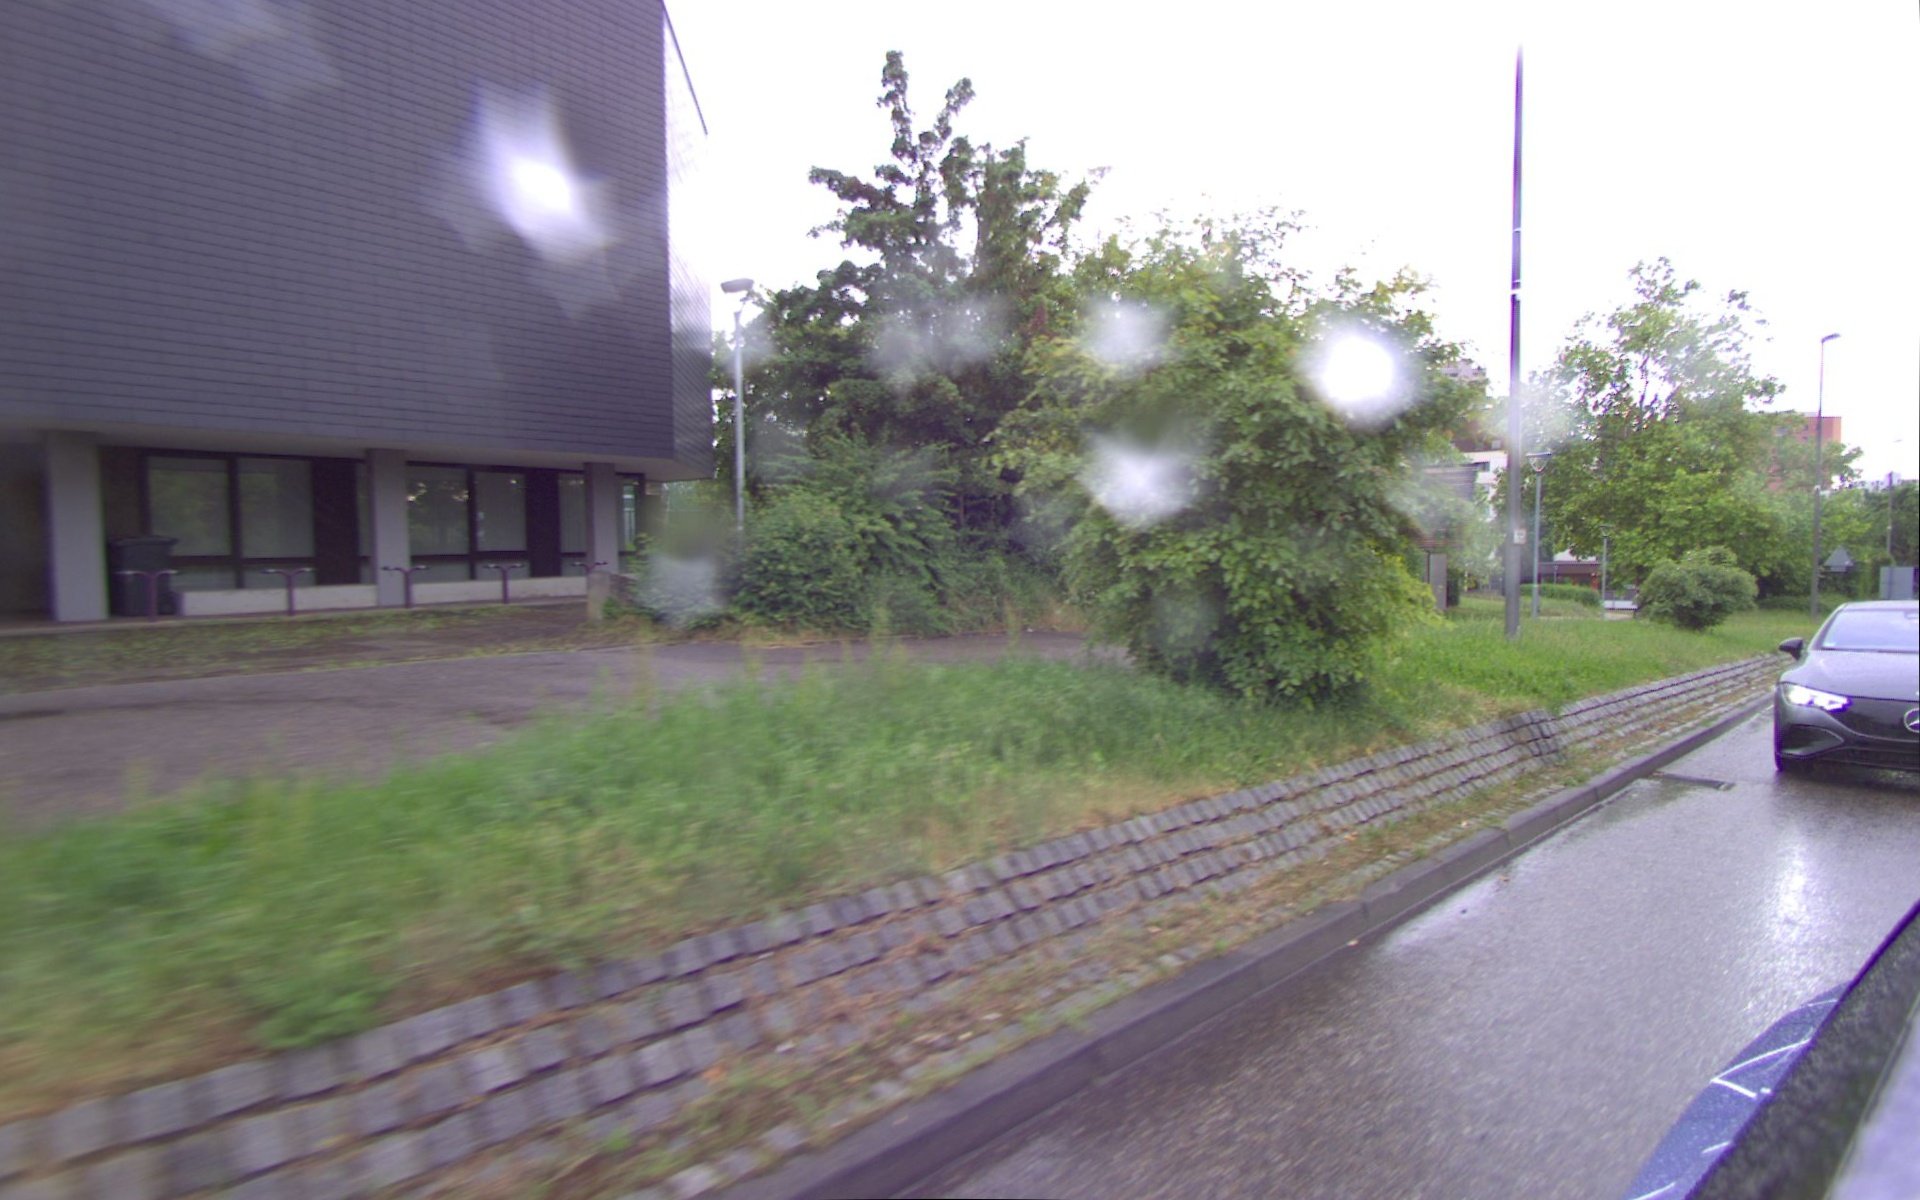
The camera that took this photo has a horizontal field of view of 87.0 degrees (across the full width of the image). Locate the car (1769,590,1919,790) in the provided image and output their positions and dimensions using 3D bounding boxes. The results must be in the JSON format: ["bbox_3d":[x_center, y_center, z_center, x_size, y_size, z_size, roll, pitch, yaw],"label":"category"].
[{"bbox_3d":[8.921,0.667,9.136,4.473,1.462,1.834,-1,1,-42],"label":"car"}]

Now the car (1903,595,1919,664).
[{"bbox_3d":[22.191,0.607,22.247,3.965,1.415,1.717,-1,1,-41],"label":"car"}]
